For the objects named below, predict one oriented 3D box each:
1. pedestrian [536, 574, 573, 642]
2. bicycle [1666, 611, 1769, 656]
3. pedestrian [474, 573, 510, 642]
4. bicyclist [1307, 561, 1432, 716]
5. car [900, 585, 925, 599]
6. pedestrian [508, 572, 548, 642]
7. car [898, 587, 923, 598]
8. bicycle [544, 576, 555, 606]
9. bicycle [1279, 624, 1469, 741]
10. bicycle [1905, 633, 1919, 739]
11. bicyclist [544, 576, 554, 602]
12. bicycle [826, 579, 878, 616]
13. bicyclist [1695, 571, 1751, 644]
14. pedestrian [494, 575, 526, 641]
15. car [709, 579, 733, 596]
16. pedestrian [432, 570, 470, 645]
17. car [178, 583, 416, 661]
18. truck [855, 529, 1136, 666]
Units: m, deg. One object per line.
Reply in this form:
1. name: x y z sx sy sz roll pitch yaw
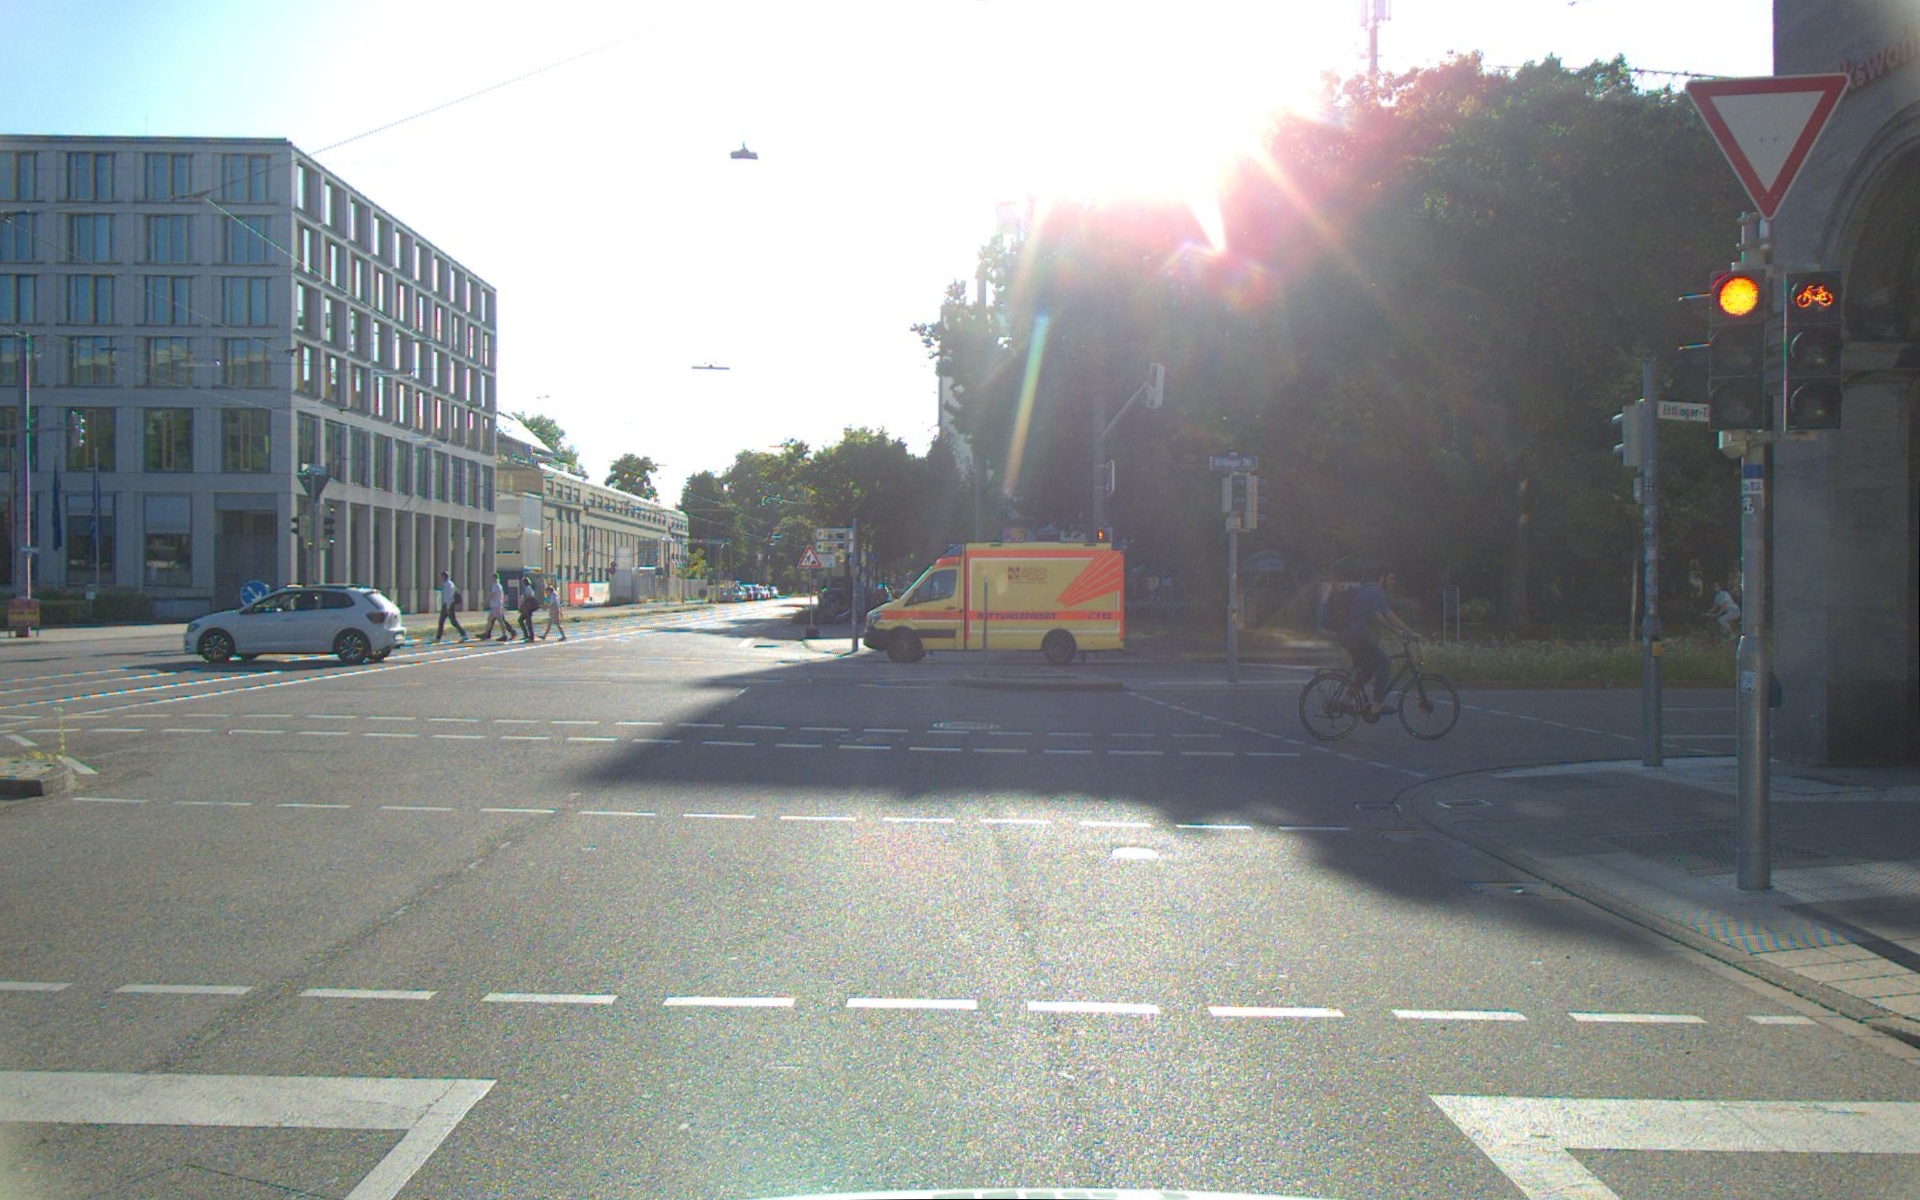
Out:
1. pedestrian: -11.072 0.218 45.183 0.851 1.835 0.532 0 0 4
2. bicycle: 16.695 0.737 36.457 2.023 0.949 0.574 0 0 -1
3. pedestrian: -12.616 0.194 44.615 0.723 1.835 0.716 0 0 4
4. bicyclist: 4.400 0.394 17.811 1.102 1.622 0.765 0 2 -7
5. car: -6.180 -1.031 213.346 3.152 1.616 1.445 1 0 -5
6. pedestrian: -11.519 0.188 44.113 0.852 1.835 0.664 0 0 4
7. car: -6.356 -0.930 211.129 3.152 1.285 1.373 1 0 -1
8. bicycle: -32.172 -0.718 129.558 0.559 2.336 1.422 0 0 -2
9. bicycle: 4.448 0.871 17.823 1.837 1.178 0.765 0 2 -7
10. bicycle: 10.974 0.907 17.268 1.775 1.104 0.767 -1 2 3
11. bicyclist: -32.177 -0.859 129.533 0.559 2.059 0.761 0 0 -2
12. bicycle: -5.302 -0.124 81.359 2.495 1.774 1.037 1 0 -1
13. bicyclist: 16.823 0.170 36.468 0.955 1.587 0.574 0 0 -1
14. pedestrian: -12.459 0.221 45.781 0.723 1.835 0.532 0 0 4
15. car: -22.511 -1.168 155.981 1.856 1.635 4.498 0 0 -3
16. pedestrian: -13.398 0.202 43.535 0.785 1.951 0.637 0 0 4
17. car: -12.798 0.426 32.118 3.963 1.459 1.630 0 -1 -4
18. truck: 0.896 -0.071 38.572 6.331 3.068 2.727 0 0 4
